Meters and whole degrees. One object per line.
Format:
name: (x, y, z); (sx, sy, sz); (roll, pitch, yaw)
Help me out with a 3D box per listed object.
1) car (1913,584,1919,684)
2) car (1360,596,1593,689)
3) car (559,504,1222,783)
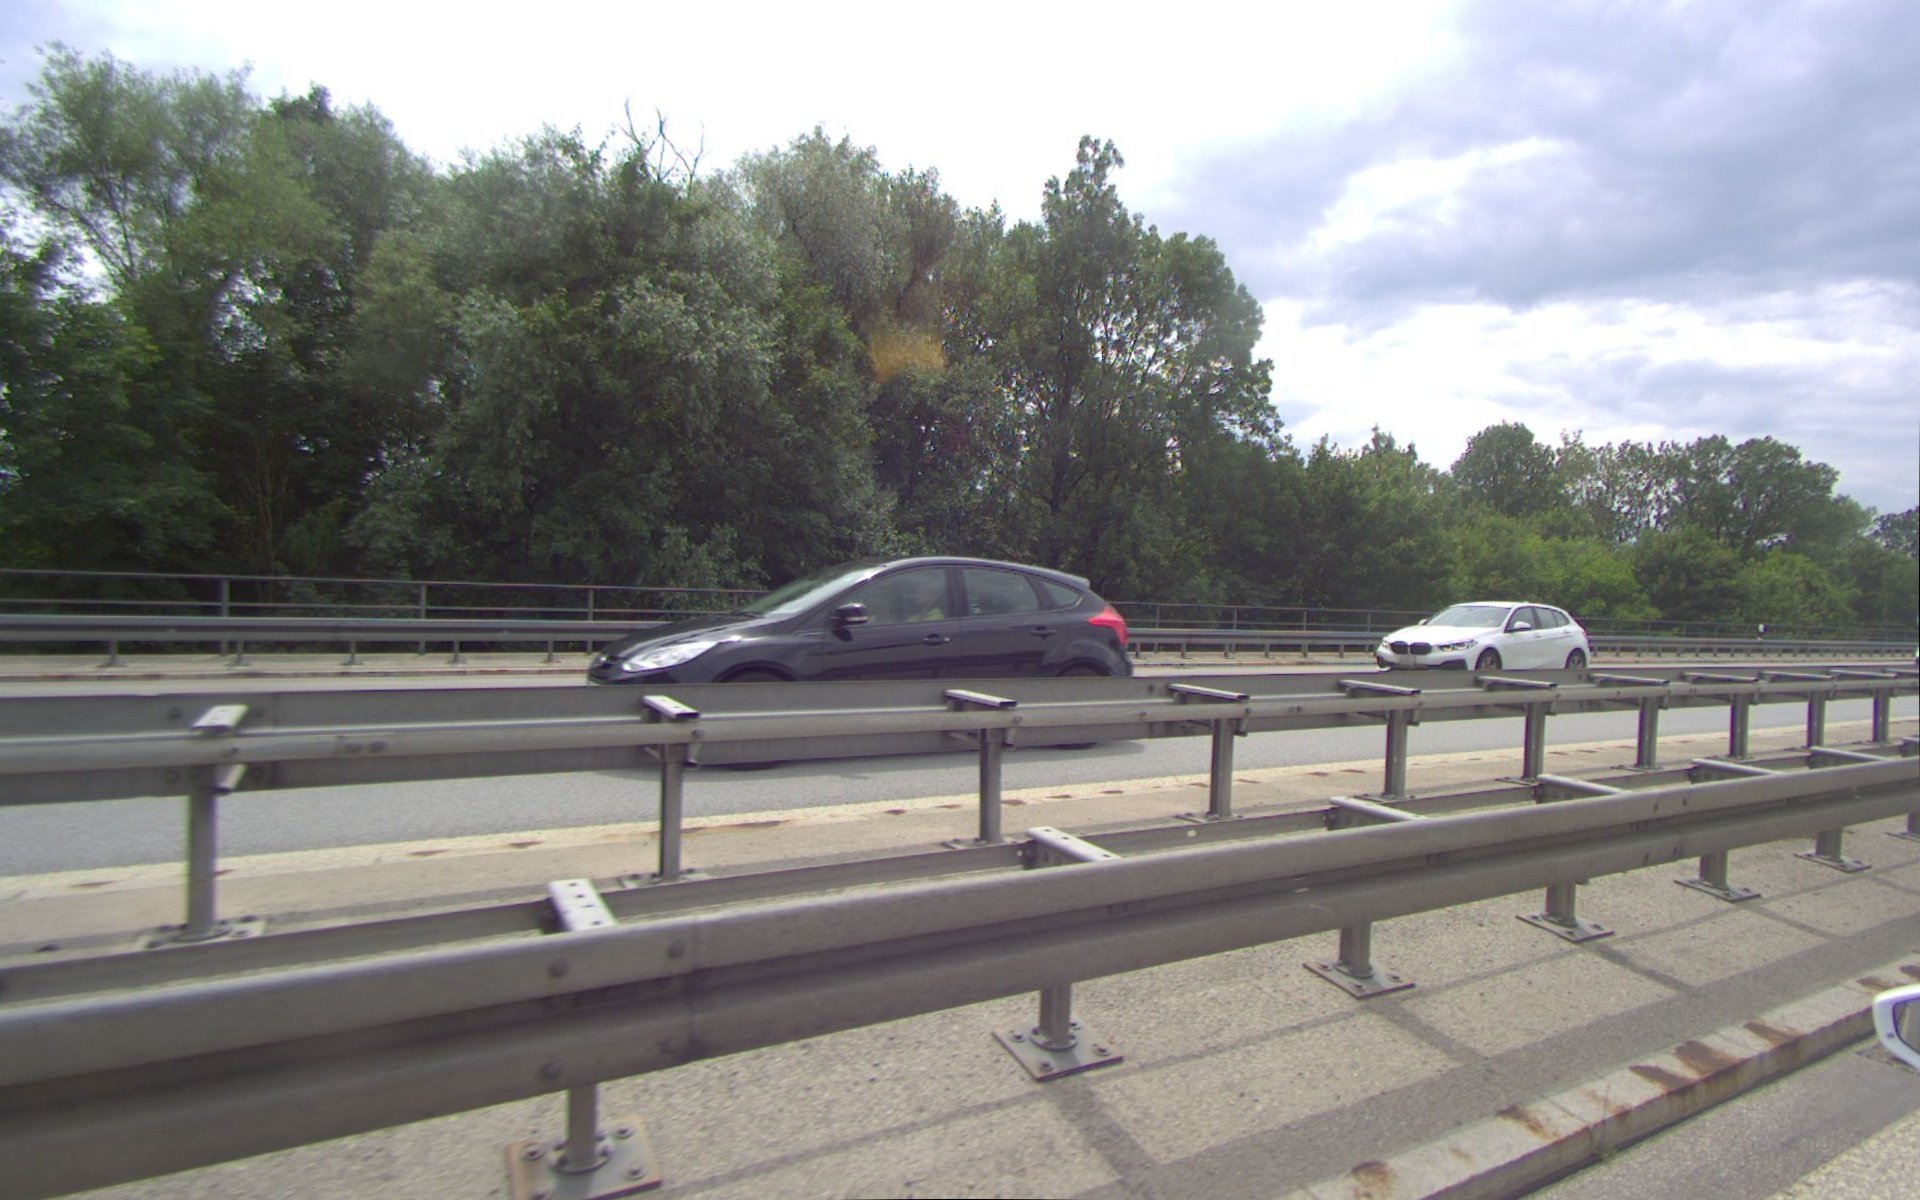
car: (21.185, 0.759, 20.192); (4.662, 1.936, 1.762); (2, 2, -32)
car: (9.071, 0.719, 17.598); (3.890, 1.457, 1.837); (2, -1, -30)
car: (-0.407, 0.296, 7.909); (4.889, 1.633, 1.836); (2, 1, -30)
